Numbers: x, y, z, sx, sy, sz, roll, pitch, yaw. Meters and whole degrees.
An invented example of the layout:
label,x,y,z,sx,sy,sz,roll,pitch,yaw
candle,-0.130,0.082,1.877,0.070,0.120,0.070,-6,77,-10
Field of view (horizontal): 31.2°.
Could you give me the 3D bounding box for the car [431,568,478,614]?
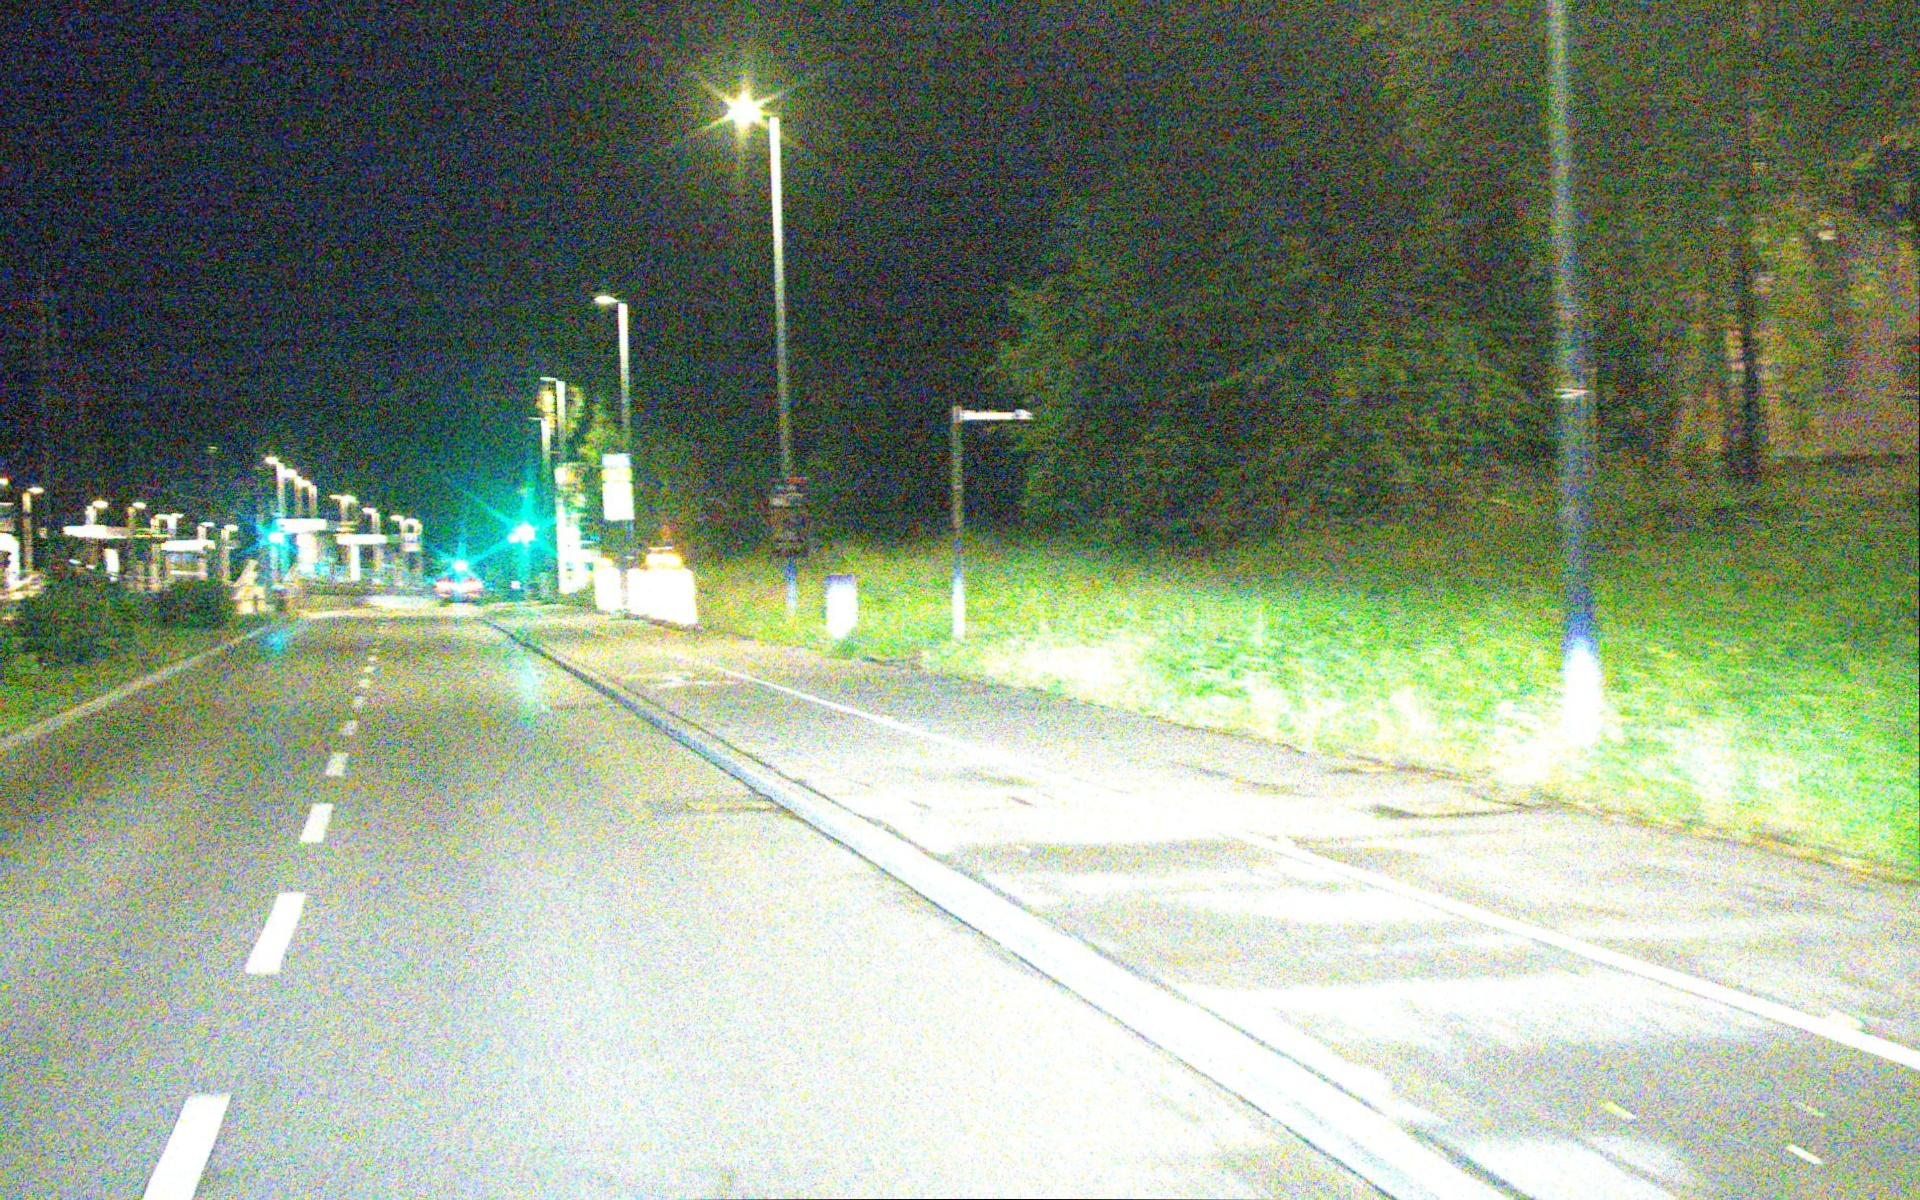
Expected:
label,x,y,z,sx,sy,sz,roll,pitch,yaw
car,-23.519,-0.414,160.003,2.087,2.007,4.001,-2,1,-8
